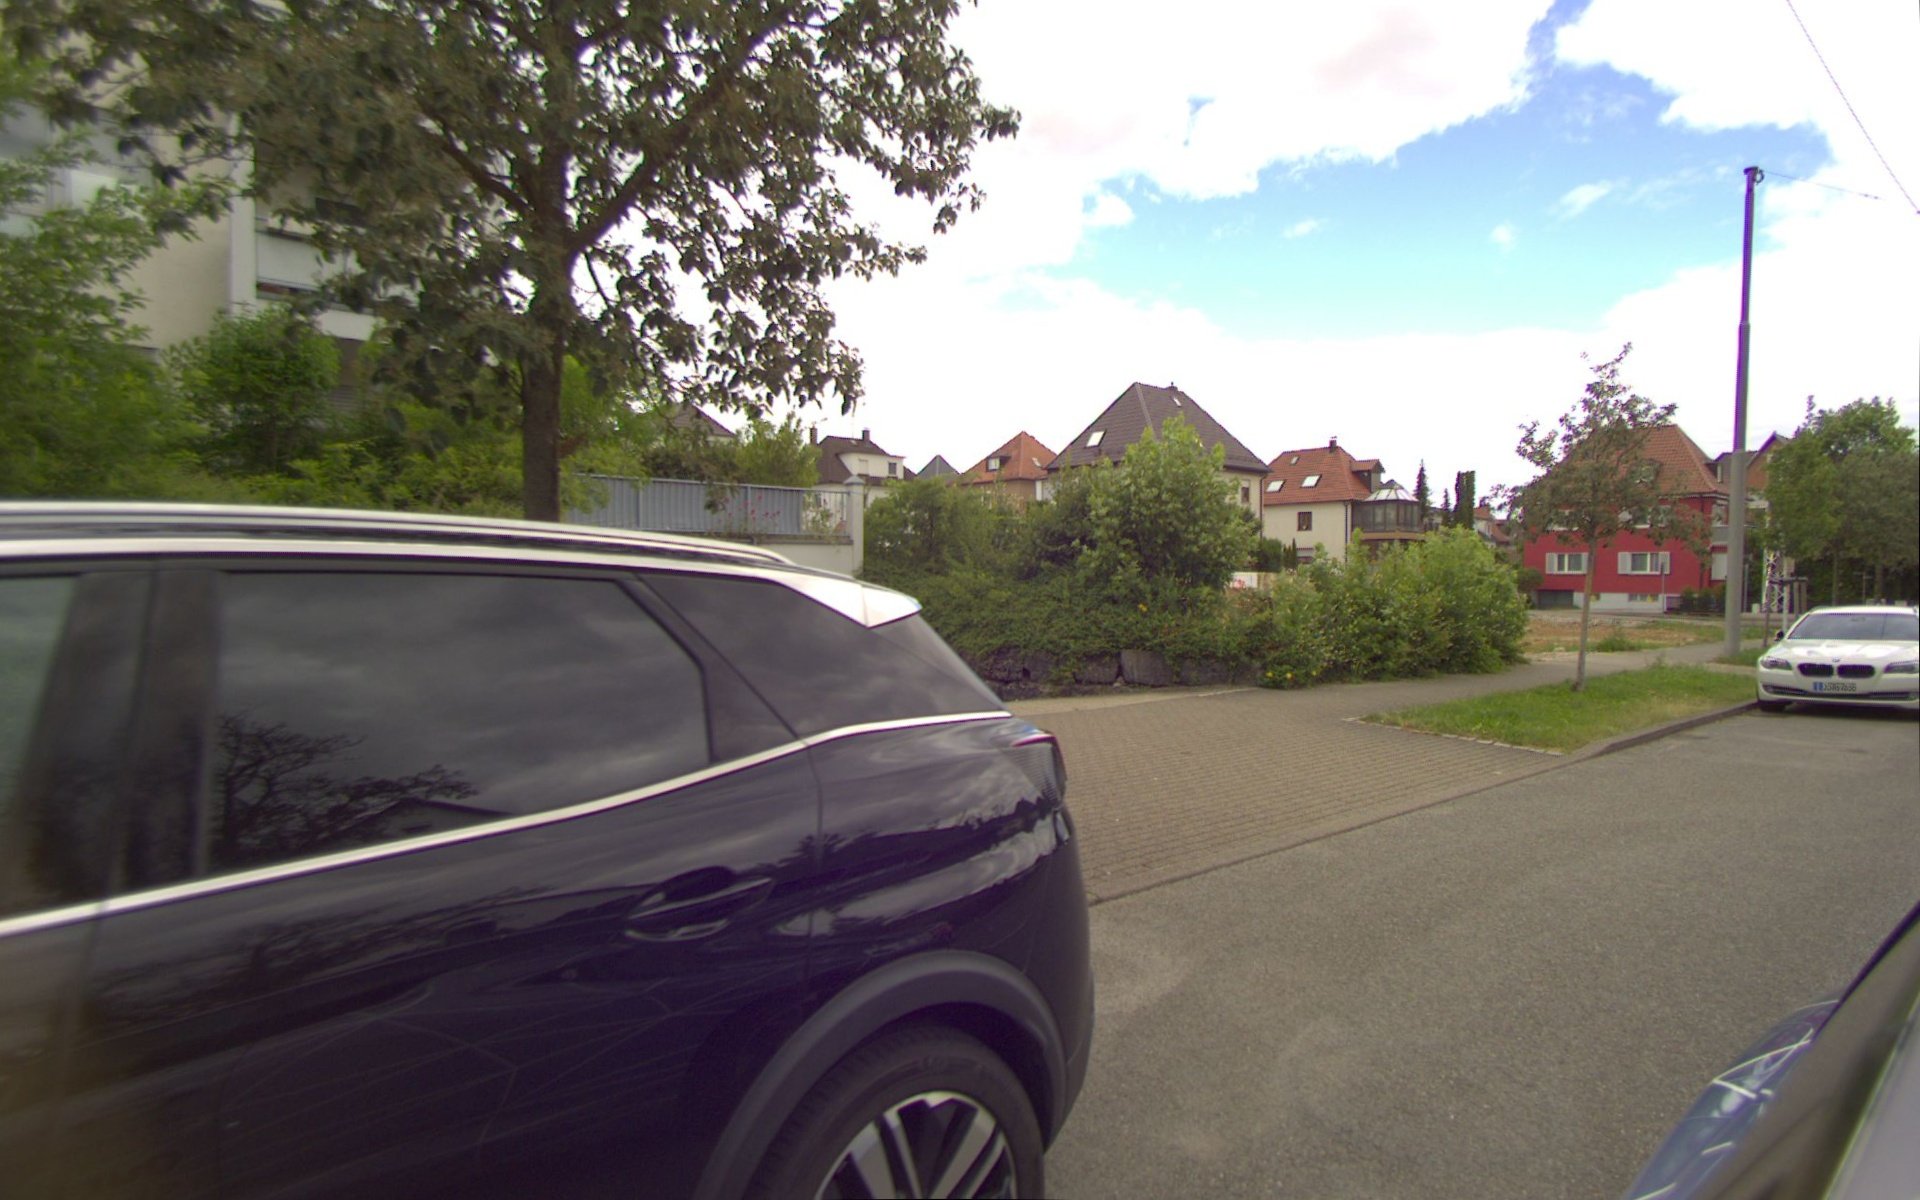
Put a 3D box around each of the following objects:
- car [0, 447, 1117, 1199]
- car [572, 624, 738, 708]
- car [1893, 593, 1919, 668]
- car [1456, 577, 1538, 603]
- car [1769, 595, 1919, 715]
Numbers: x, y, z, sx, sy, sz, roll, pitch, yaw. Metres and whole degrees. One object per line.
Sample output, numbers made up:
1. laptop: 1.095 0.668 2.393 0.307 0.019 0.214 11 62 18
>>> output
1. car: -1.749 0.674 1.392 4.037 1.629 1.690 0 0 -41
2. car: -6.495 1.295 21.308 1.965 1.498 3.994 0 0 -40
3. car: 21.588 0.621 21.952 4.149 1.535 1.667 0 0 -43
4. car: 33.913 -0.635 64.025 1.730 1.442 4.227 2 2 -42
5. car: 13.016 0.685 14.330 4.327 1.472 1.696 0 -1 -41
